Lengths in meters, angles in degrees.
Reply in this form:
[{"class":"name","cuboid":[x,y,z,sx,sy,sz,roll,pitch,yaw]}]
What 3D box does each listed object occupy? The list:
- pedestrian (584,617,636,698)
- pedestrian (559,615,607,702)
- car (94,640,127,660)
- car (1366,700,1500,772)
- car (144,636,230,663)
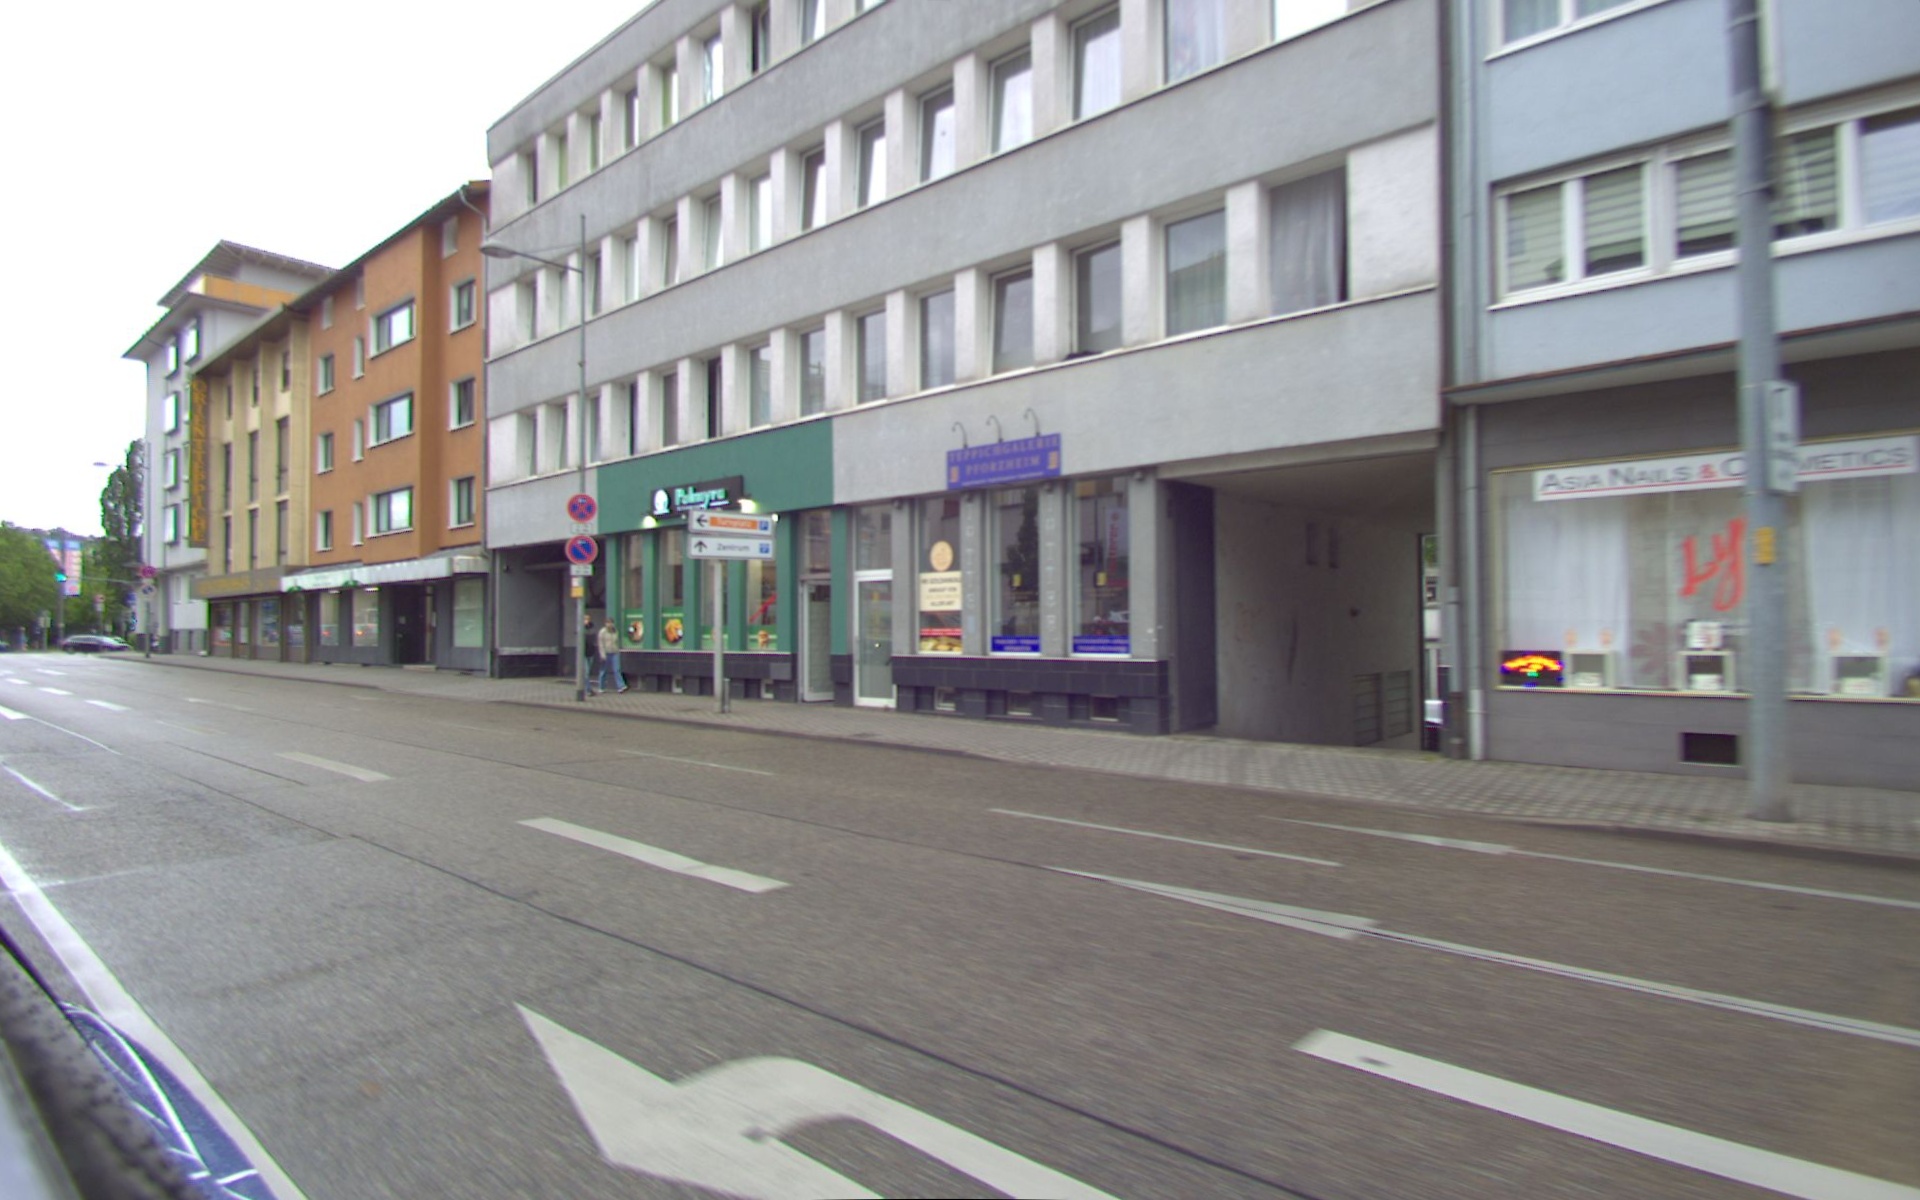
[{"class":"pedestrian","cuboid":[-7.661,1.248,22.125,0.907,1.688,0.624,-2,2,40]},{"class":"pedestrian","cuboid":[-8.076,1.240,21.661,0.826,1.802,0.569,-2,2,41]},{"class":"car","cuboid":[-66.103,3.883,78.721,1.777,1.445,4.401,0,-2,-43]},{"class":"car","cuboid":[11.861,3.320,25.262,1.877,1.361,3.943,-3,-3,43]},{"class":"car","cuboid":[-46.517,2.967,60.922,1.797,1.431,3.772,0,-4,41]}]
